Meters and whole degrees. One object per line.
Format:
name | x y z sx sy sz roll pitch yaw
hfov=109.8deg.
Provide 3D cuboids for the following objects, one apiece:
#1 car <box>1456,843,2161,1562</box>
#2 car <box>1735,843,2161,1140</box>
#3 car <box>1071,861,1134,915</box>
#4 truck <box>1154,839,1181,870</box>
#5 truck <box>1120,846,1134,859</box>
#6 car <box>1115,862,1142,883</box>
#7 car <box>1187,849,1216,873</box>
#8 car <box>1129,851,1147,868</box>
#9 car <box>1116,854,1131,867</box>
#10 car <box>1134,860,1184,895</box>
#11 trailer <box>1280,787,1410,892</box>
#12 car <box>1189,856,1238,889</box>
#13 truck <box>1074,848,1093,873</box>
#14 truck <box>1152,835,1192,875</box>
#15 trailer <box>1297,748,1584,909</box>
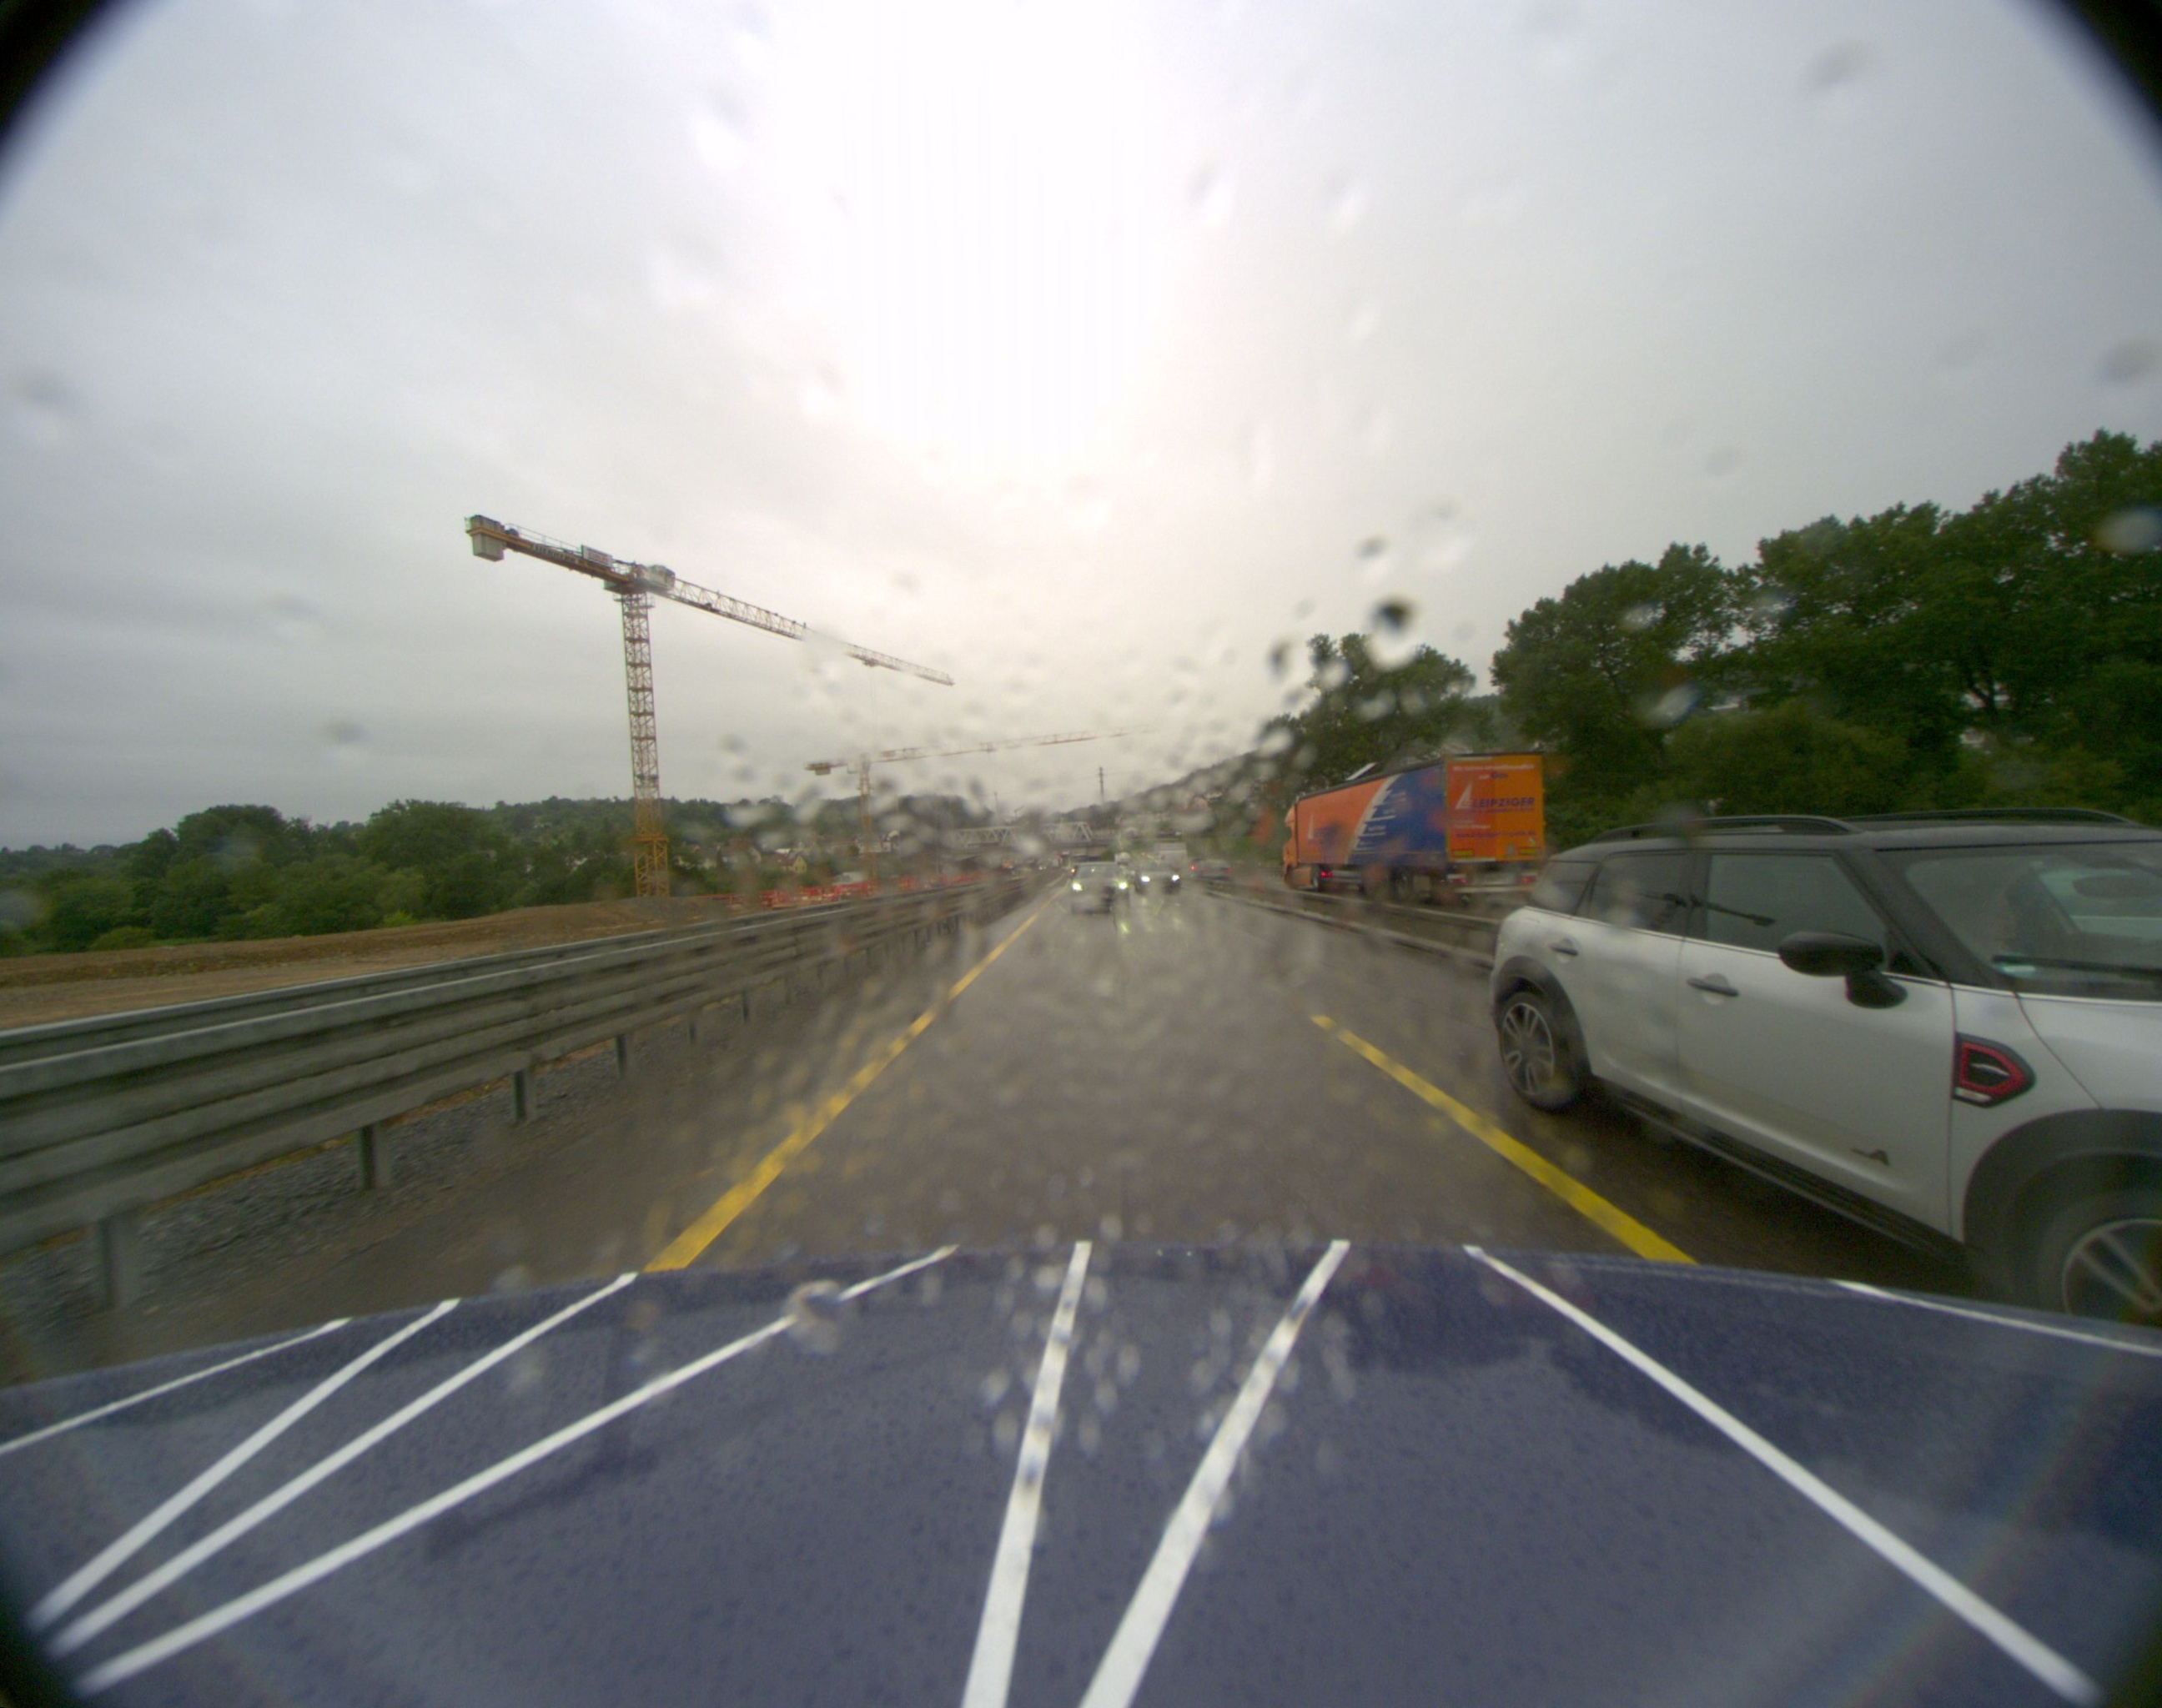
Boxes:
car | 3.364 0.788 2.812 1.820 1.591 4.308 -2 0 1
car | 6.675 0.721 4.201 1.978 1.501 4.745 -2 1 -1
car | 0.655 1.017 24.220 1.781 1.514 4.141 -2 0 1
truck | 10.686 0.064 94.638 2.608 3.605 6.538 -2 1 1
truck | 10.017 -0.303 166.129 2.800 2.769 5.497 -2 1 0
car | 3.618 1.415 58.575 1.781 1.430 4.483 -2 1 1
car | 10.271 0.545 65.187 1.907 2.002 3.999 0 1 1
car | 6.821 0.696 90.819 1.907 2.002 4.000 0 0 1
car | 6.757 1.025 120.512 2.165 2.002 4.479 0 0 1
car | 3.636 1.068 36.146 1.951 1.430 4.483 -2 1 1
trailer | 10.960 -0.540 32.359 3.278 3.895 6.352 -2 0 1
car | 6.878 0.939 39.867 1.836 1.501 4.126 -2 1 1
truck | 0.371 0.880 112.634 2.576 3.451 6.626 -2 1 1
truck | 7.293 0.044 61.528 2.413 2.976 6.538 -2 1 1
trailer | 10.871 -0.589 25.726 3.285 3.885 13.699 -2 0 1
